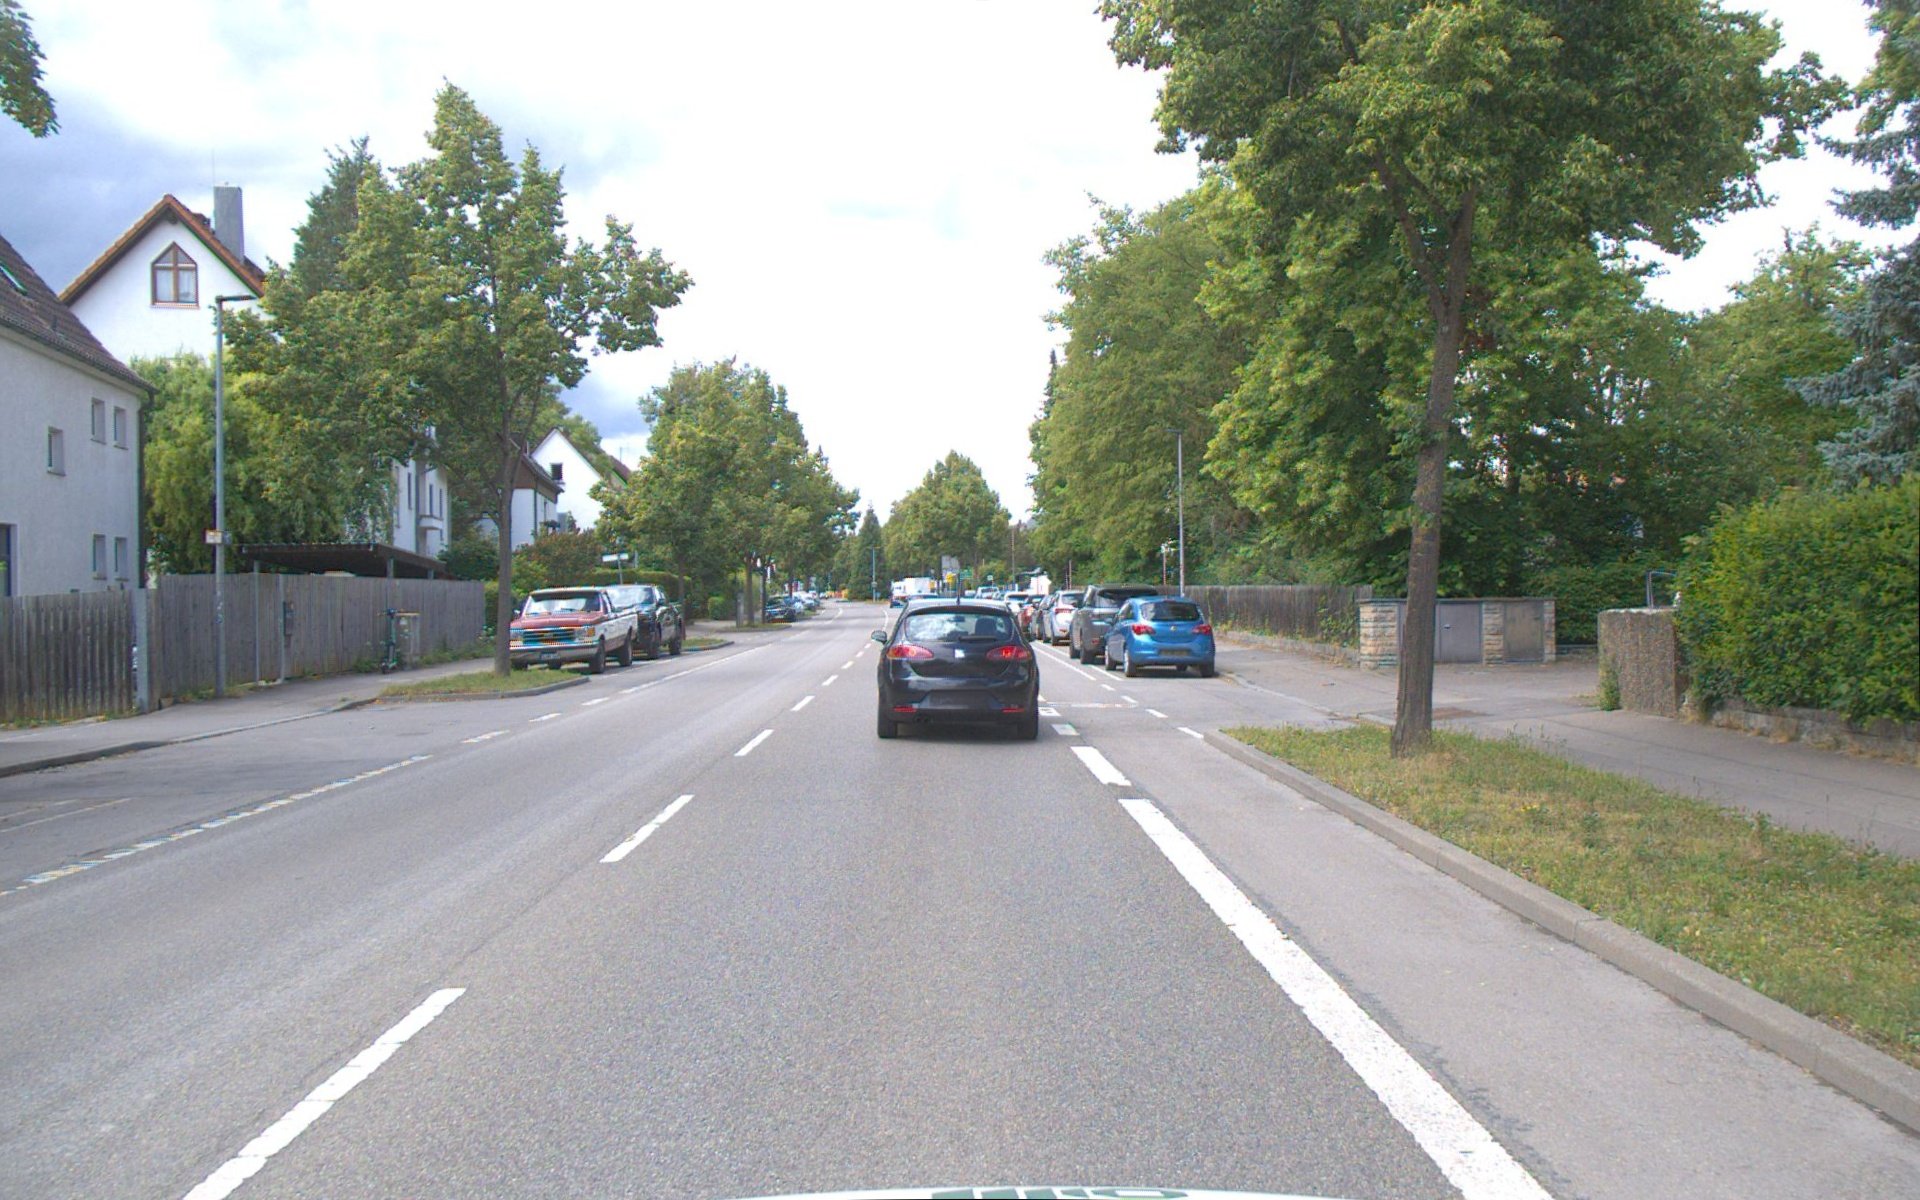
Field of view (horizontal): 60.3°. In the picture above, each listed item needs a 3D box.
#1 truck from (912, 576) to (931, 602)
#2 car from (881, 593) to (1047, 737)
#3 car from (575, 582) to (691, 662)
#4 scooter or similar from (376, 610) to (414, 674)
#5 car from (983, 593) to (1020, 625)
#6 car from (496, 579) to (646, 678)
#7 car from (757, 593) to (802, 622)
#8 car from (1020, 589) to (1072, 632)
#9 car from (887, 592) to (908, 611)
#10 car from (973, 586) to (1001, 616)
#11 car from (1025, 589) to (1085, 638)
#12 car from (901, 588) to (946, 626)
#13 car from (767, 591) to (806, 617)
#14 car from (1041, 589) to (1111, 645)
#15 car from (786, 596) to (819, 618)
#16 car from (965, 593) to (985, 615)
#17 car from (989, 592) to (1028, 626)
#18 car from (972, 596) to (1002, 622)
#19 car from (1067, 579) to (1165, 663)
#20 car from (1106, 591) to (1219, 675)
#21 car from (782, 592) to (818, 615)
[{"bbox_3d":[-4.968,-1.362,213.712,2.233,3.158,8.506,1,0,-2],"label":"truck"},{"bbox_3d":[-0.051,0.655,18.487,1.630,1.426,3.809,1,0,-3],"label":"car"},{"bbox_3d":[-8.667,0.540,44.377,2.058,1.929,5.782,-2,0,-2],"label":"car"},{"bbox_3d":[-11.400,0.832,33.393,0.380,1.251,1.497,-1,0,-6],"label":"scooter or similar"},{"bbox_3d":[2.141,0.451,85.861,1.654,1.591,4.212,-1,0,-2],"label":"car"},{"bbox_3d":[-8.527,0.573,36.825,2.058,1.929,5.782,-2,0,-2],"label":"car"},{"bbox_3d":[-10.216,0.415,94.114,2.058,1.532,5.782,-2,0,-2],"label":"car"},{"bbox_3d":[3.309,0.392,64.343,1.654,1.591,4.212,-1,0,-2],"label":"car"},{"bbox_3d":[-5.714,0.098,152.041,1.843,1.718,4.212,-1,0,-2],"label":"car"},{"bbox_3d":[1.797,0.061,111.480,1.654,1.908,4.212,-1,0,-2],"label":"car"},{"bbox_3d":[3.171,0.423,56.113,1.654,1.591,4.212,-1,0,-2],"label":"car"},{"bbox_3d":[-1.532,0.287,70.130,1.808,1.536,3.811,1,0,-1],"label":"car"},{"bbox_3d":[-11.161,0.257,106.799,2.058,1.532,5.782,-2,0,-2],"label":"car"},{"bbox_3d":[3.431,0.486,49.552,1.654,1.591,4.212,-1,0,-2],"label":"car"},{"bbox_3d":[-12.027,0.535,126.588,2.058,1.532,5.782,-2,0,-2],"label":"car"},{"bbox_3d":[1.332,0.381,147.708,1.654,1.908,4.212,-1,0,-2],"label":"car"},{"bbox_3d":[2.319,0.435,80.137,1.654,1.591,4.212,-1,0,-2],"label":"car"},{"bbox_3d":[1.694,0.522,104.474,1.654,1.591,4.212,-1,0,-2],"label":"car"},{"bbox_3d":[3.423,0.437,36.994,1.654,1.741,4.212,-1,0,-2],"label":"car"},{"bbox_3d":[3.844,0.600,31.895,1.654,1.516,3.353,-1,0,-2],"label":"car"},{"bbox_3d":[-11.264,0.234,116.775,2.058,1.532,5.782,-2,0,-2],"label":"car"}]
